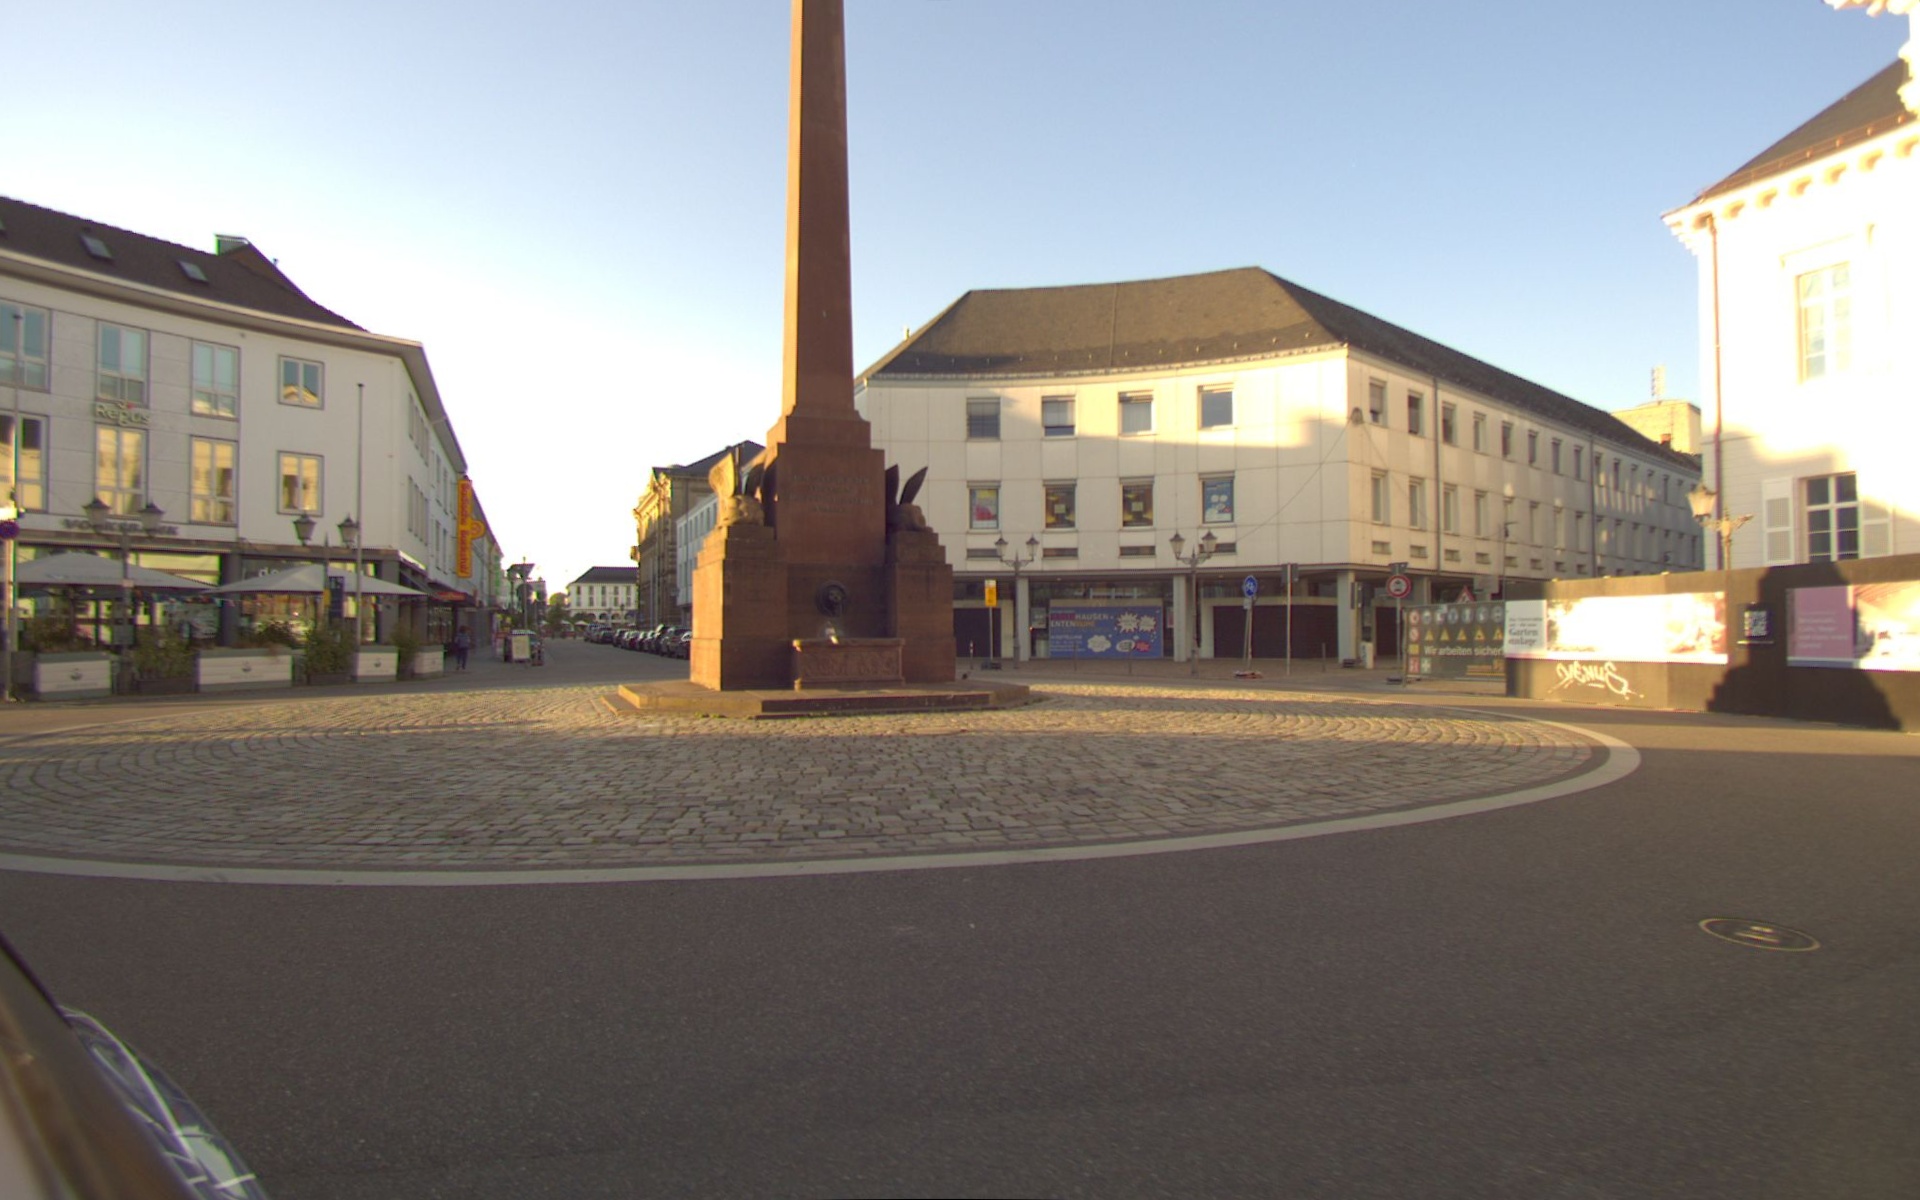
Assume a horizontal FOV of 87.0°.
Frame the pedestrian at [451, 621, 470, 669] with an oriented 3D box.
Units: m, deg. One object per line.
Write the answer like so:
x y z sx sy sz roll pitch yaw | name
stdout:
-17.998 1.604 36.454 0.593 1.713 0.716 0 -2 -28 | pedestrian

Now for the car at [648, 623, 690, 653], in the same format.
-17.355 2.255 60.239 1.751 1.741 4.342 0 -2 -25 | car

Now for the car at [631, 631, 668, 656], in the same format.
-20.131 2.786 65.516 1.751 1.503 4.342 0 -2 -25 | car

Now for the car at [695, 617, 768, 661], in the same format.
-10.339 1.746 45.517 1.987 1.839 4.473 0 -2 -30 | car

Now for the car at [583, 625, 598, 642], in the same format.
-48.753 4.393 133.487 1.751 2.244 4.342 0 -2 -23 | car

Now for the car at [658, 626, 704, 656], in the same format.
-15.093 2.183 54.587 1.751 1.527 3.974 0 -2 -25 | car

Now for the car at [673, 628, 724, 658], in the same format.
-13.035 2.126 50.323 1.751 1.435 3.974 0 -2 -25 | car

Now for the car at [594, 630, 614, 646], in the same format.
-38.918 4.138 110.527 1.751 1.679 4.342 0 -2 -23 | car

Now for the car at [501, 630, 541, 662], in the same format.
-21.423 2.216 49.364 1.751 1.435 3.974 0 -2 -24 | car

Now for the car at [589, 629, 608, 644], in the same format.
-41.502 4.165 116.087 1.751 1.679 4.342 0 -2 -23 | car

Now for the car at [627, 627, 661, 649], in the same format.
-21.960 2.628 70.256 1.751 1.503 4.342 0 -2 -25 | car

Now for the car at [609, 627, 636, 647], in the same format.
-29.293 3.221 87.772 1.751 1.679 4.342 0 -2 -25 | car
